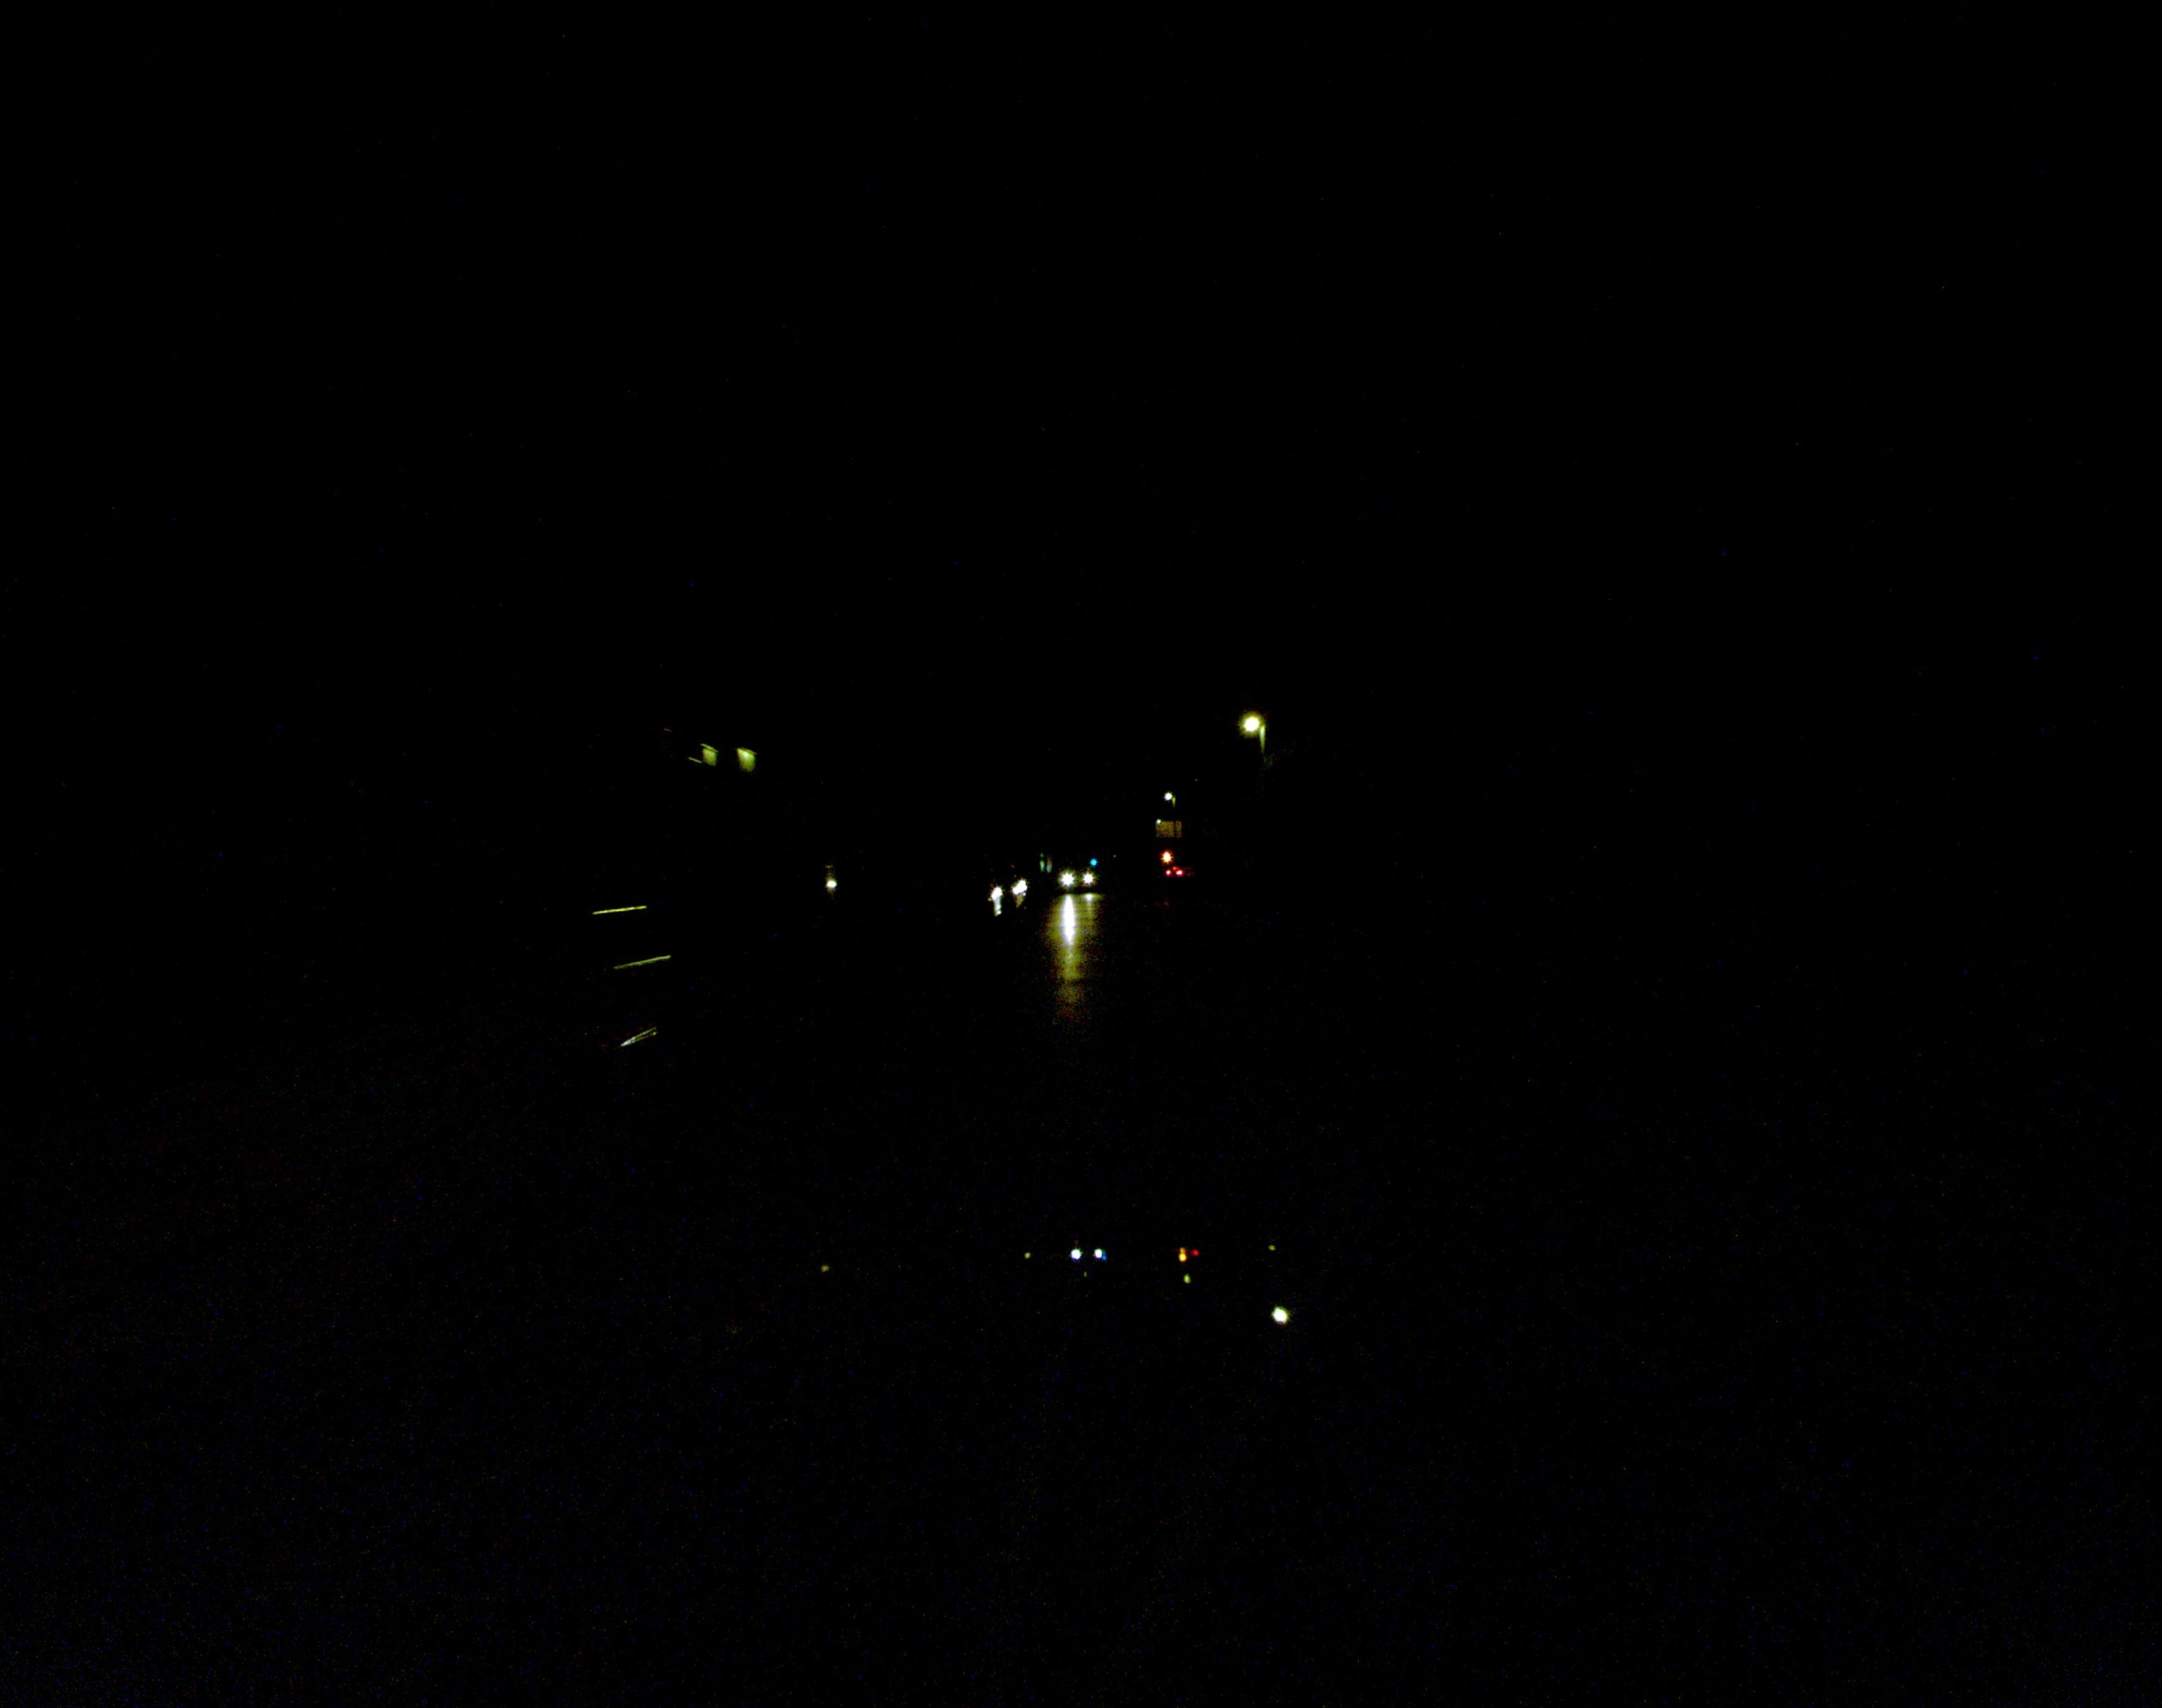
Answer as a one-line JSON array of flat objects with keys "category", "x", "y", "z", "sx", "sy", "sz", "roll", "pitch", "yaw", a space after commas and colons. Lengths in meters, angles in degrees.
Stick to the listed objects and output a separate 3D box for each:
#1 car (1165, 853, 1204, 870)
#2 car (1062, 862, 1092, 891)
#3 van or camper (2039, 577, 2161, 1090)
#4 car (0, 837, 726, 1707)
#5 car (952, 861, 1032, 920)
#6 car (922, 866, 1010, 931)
[{"category": "car", "x": 9.865, "y": 0.700, "z": 72.427, "sx": 1.726, "sy": 1.422, "sz": 4.297, "roll": 0, "pitch": 3, "yaw": 38}, {"category": "car", "x": -0.186, "y": 1.177, "z": 40.290, "sx": 1.513, "sy": 1.492, "sz": 3.050, "roll": -1, "pitch": -1, "yaw": 0}, {"category": "van or camper", "x": 9.265, "y": -0.168, "z": 4.458, "sx": 5.416, "sy": 3.093, "sz": 2.130, "roll": -1, "pitch": 1, "yaw": -9}, {"category": "car", "x": -2.976, "y": 0.875, "z": 1.959, "sx": 1.723, "sy": 1.751, "sz": 4.758, "roll": -2, "pitch": 0, "yaw": 1}, {"category": "car", "x": -2.665, "y": 1.041, "z": 23.791, "sx": 1.759, "sy": 1.584, "sz": 4.729, "roll": -2, "pitch": 0, "yaw": 2}, {"category": "car", "x": -2.817, "y": 1.069, "z": 19.284, "sx": 1.613, "sy": 1.452, "sz": 3.717, "roll": 1, "pitch": -1, "yaw": 0}]
